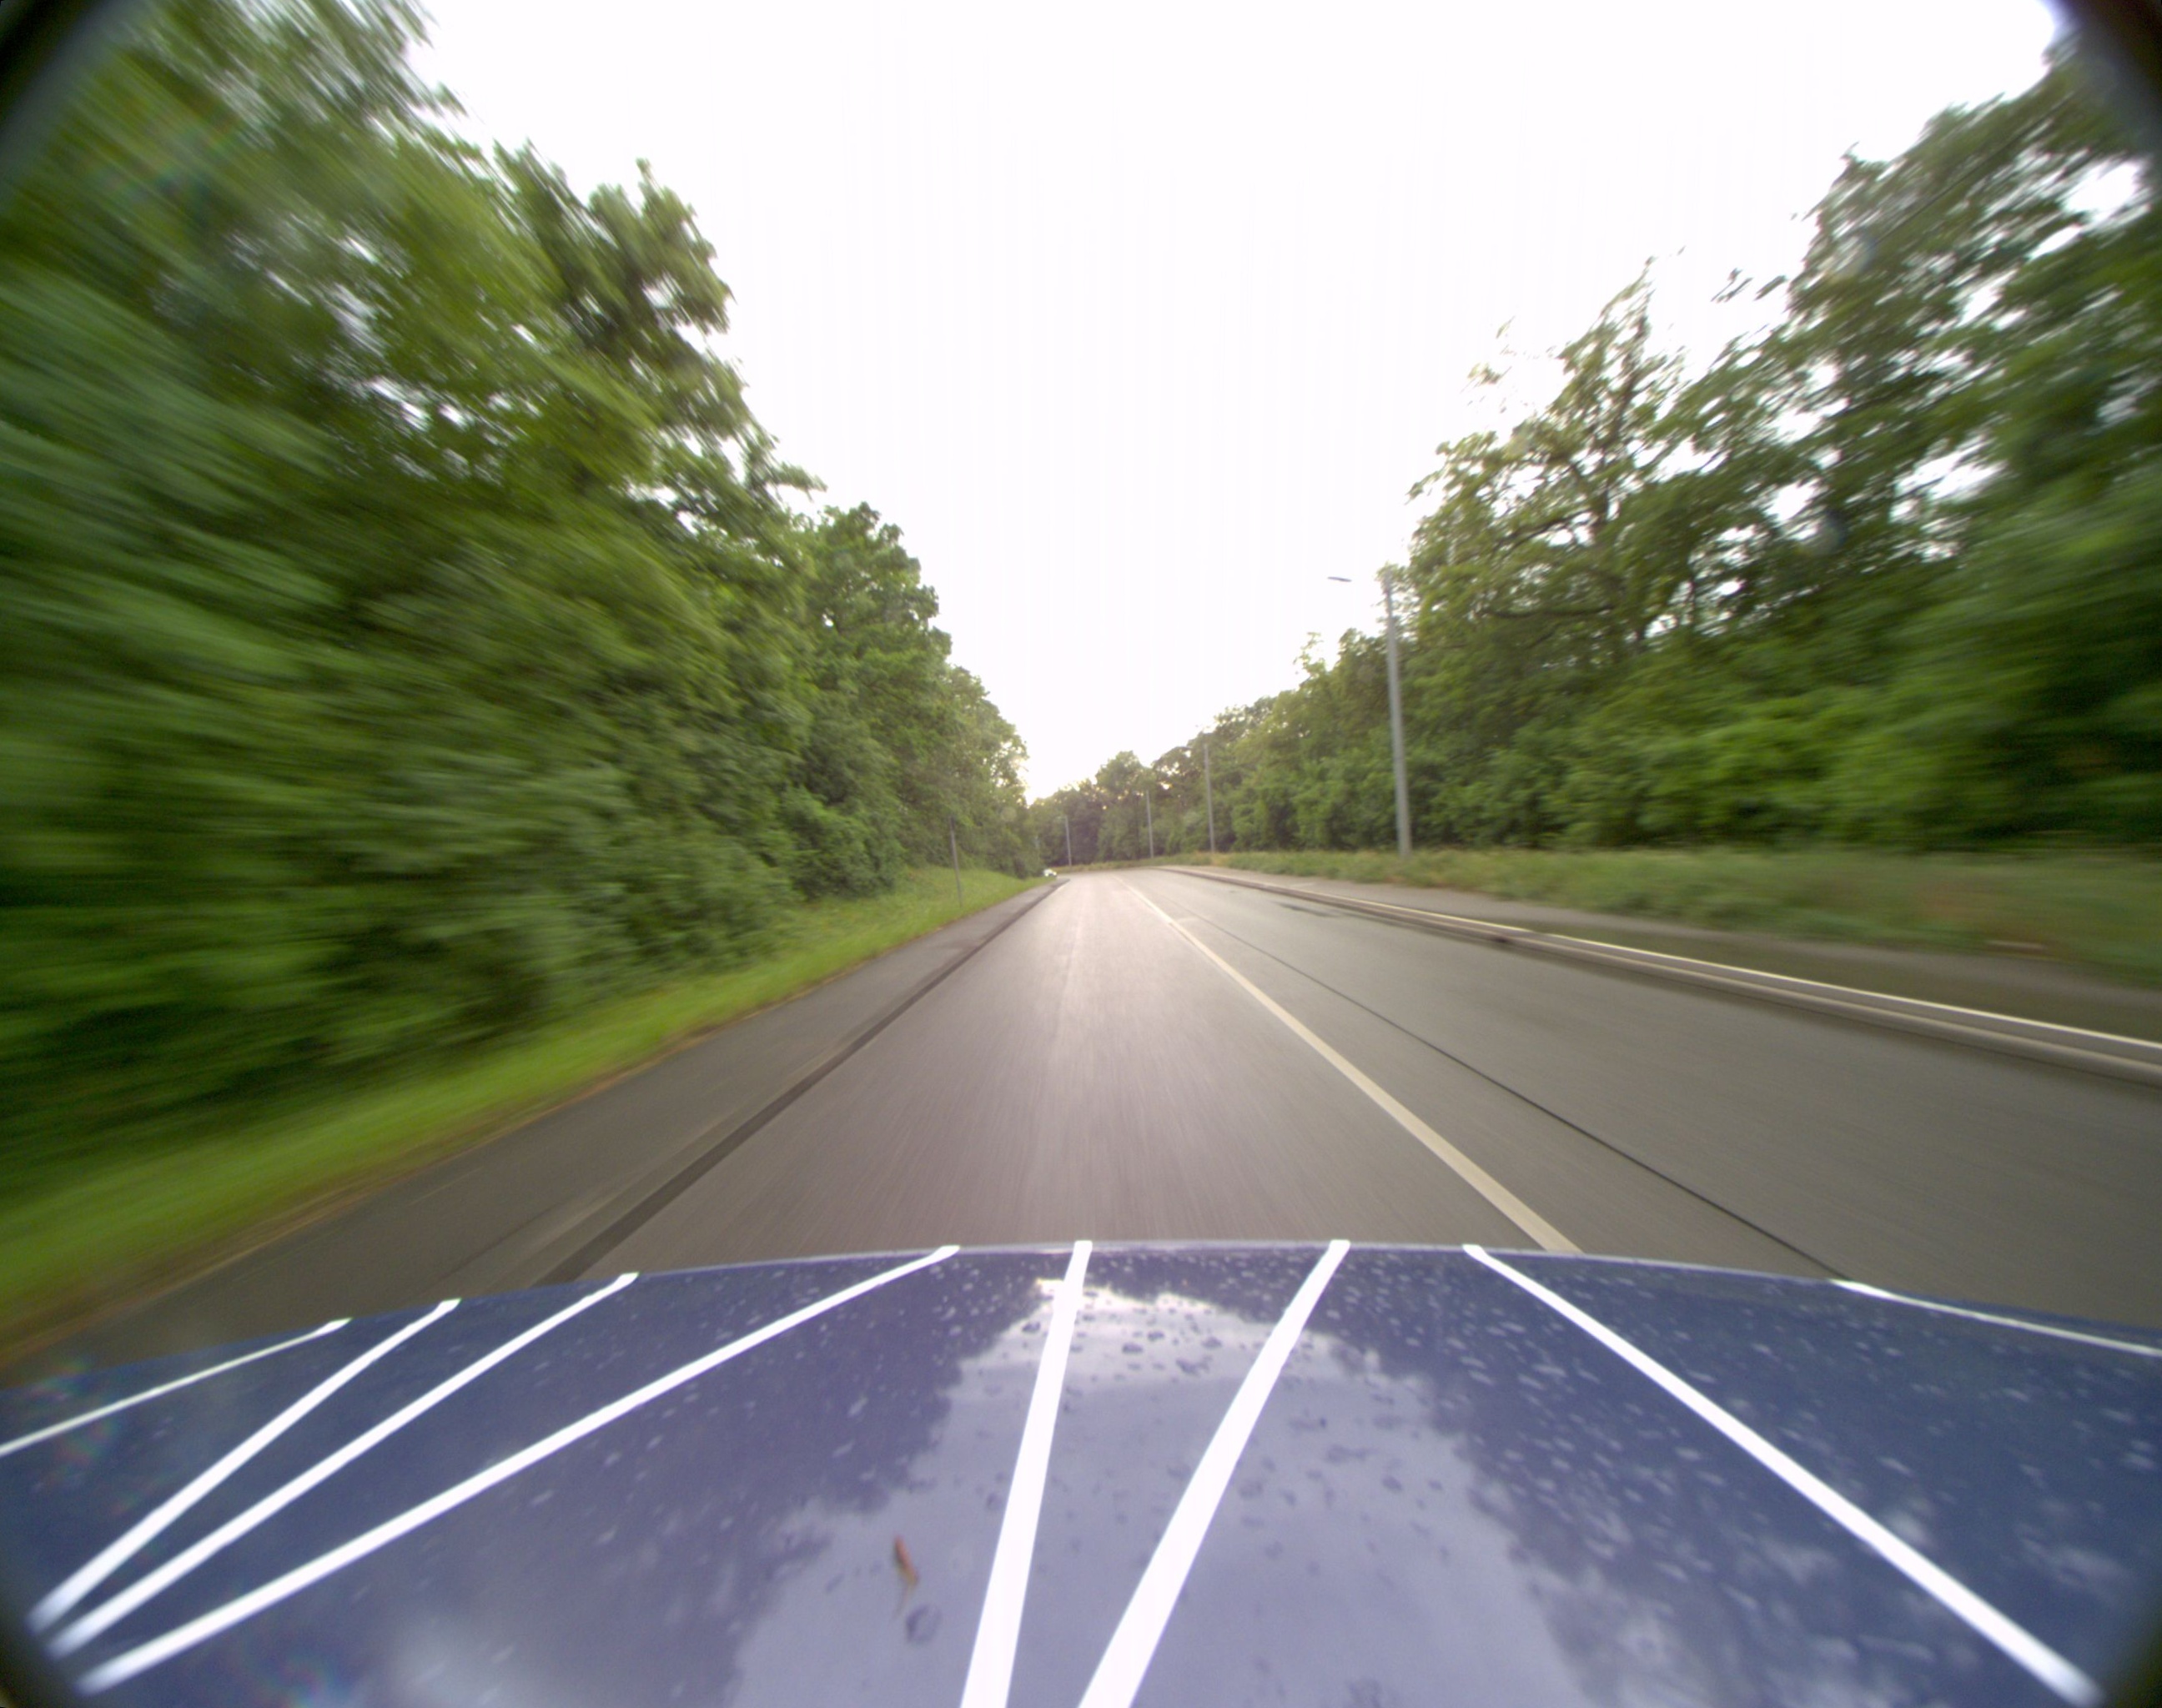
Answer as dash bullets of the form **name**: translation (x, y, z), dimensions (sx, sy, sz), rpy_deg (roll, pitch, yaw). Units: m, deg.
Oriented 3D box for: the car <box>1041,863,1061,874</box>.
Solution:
- **car**: translation (-4.345, 2.064, 109.233), dimensions (1.784, 1.477, 3.994), rpy_deg (-2, 0, -17)
